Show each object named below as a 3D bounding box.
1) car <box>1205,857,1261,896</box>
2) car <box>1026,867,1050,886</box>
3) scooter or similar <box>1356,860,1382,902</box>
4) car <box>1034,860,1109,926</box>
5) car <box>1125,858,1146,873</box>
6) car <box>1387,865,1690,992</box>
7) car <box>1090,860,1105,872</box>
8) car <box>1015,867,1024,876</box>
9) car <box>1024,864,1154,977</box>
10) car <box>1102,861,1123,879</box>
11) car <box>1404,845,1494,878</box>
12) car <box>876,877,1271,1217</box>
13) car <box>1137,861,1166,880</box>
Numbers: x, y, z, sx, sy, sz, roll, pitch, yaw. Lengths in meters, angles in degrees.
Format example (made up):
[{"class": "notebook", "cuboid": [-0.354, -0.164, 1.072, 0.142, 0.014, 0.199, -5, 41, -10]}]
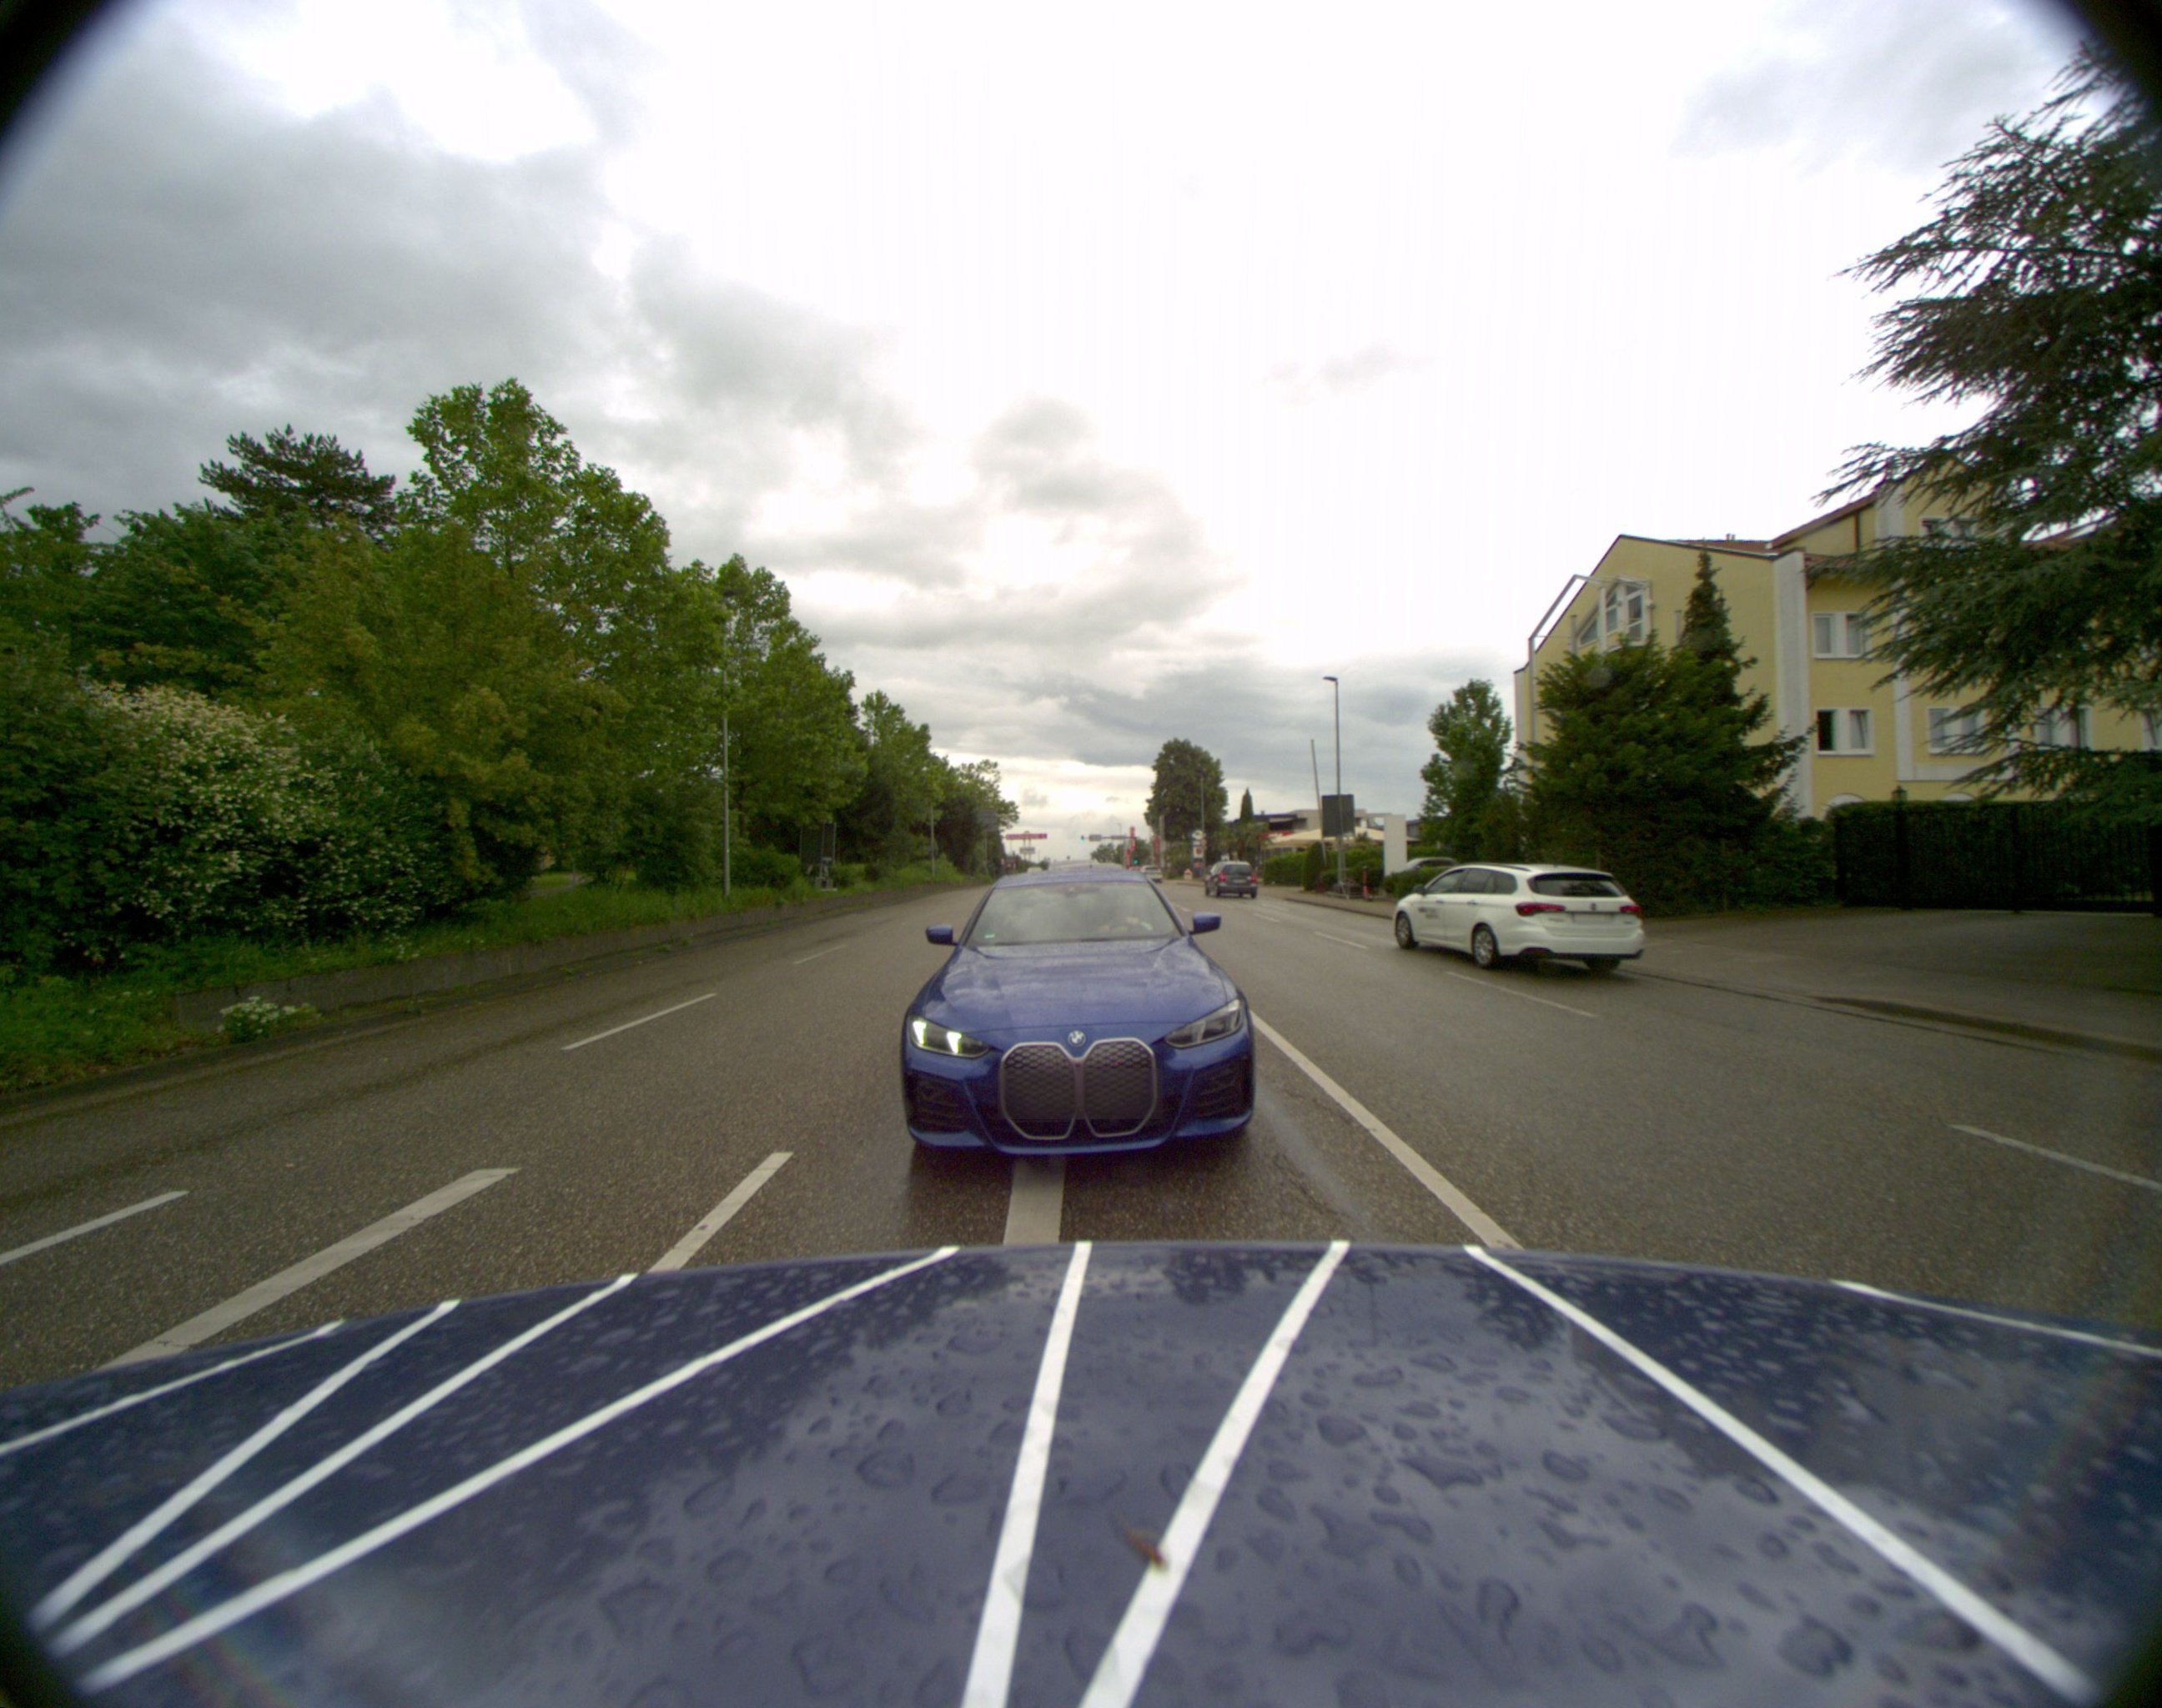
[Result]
[{"class": "car", "cuboid": [6.678, 0.994, 33.747, 1.703, 1.589, 3.550, -1, -1, 0]}, {"class": "car", "cuboid": [-3.679, 1.921, 65.837, 1.775, 1.448, 4.000, -1, 0, 1]}, {"class": "scooter or similar", "cuboid": [10.042, 0.925, 26.525, 0.505, 1.398, 1.882, 0, 0, 11]}, {"class": "car", "cuboid": [-0.220, 0.963, 20.643, 1.807, 1.543, 4.000, -1, 0, 0]}, {"class": "car", "cuboid": [5.565, 1.188, 78.369, 1.700, 1.467, 3.779, -2, 0, -2]}, {"class": "car", "cuboid": [6.484, 0.944, 11.474, 1.972, 1.446, 4.308, -1, 0, 0]}, {"class": "car", "cuboid": [2.057, 1.477, 95.103, 1.820, 1.373, 4.272, -2, 0, 0]}, {"class": "car", "cuboid": [-13.182, 3.858, 163.660, 1.812, 1.718, 3.998, -3, 1, -3]}, {"class": "car", "cuboid": [0.127, 0.970, 12.826, 1.807, 1.543, 4.223, -1, 0, 0]}, {"class": "car", "cuboid": [2.743, 1.385, 66.963, 1.643, 1.451, 3.518, -1, 0, -2]}, {"class": "car", "cuboid": [19.421, 0.391, 40.183, 3.930, 1.642, 1.719, -1, 0, 6]}, {"class": "car", "cuboid": [-0.033, 0.962, 5.661, 1.803, 1.399, 4.272, -1, 0, 0]}, {"class": "car", "cuboid": [5.872, 1.365, 63.713, 1.790, 1.451, 4.432, 0, -1, -2]}]
